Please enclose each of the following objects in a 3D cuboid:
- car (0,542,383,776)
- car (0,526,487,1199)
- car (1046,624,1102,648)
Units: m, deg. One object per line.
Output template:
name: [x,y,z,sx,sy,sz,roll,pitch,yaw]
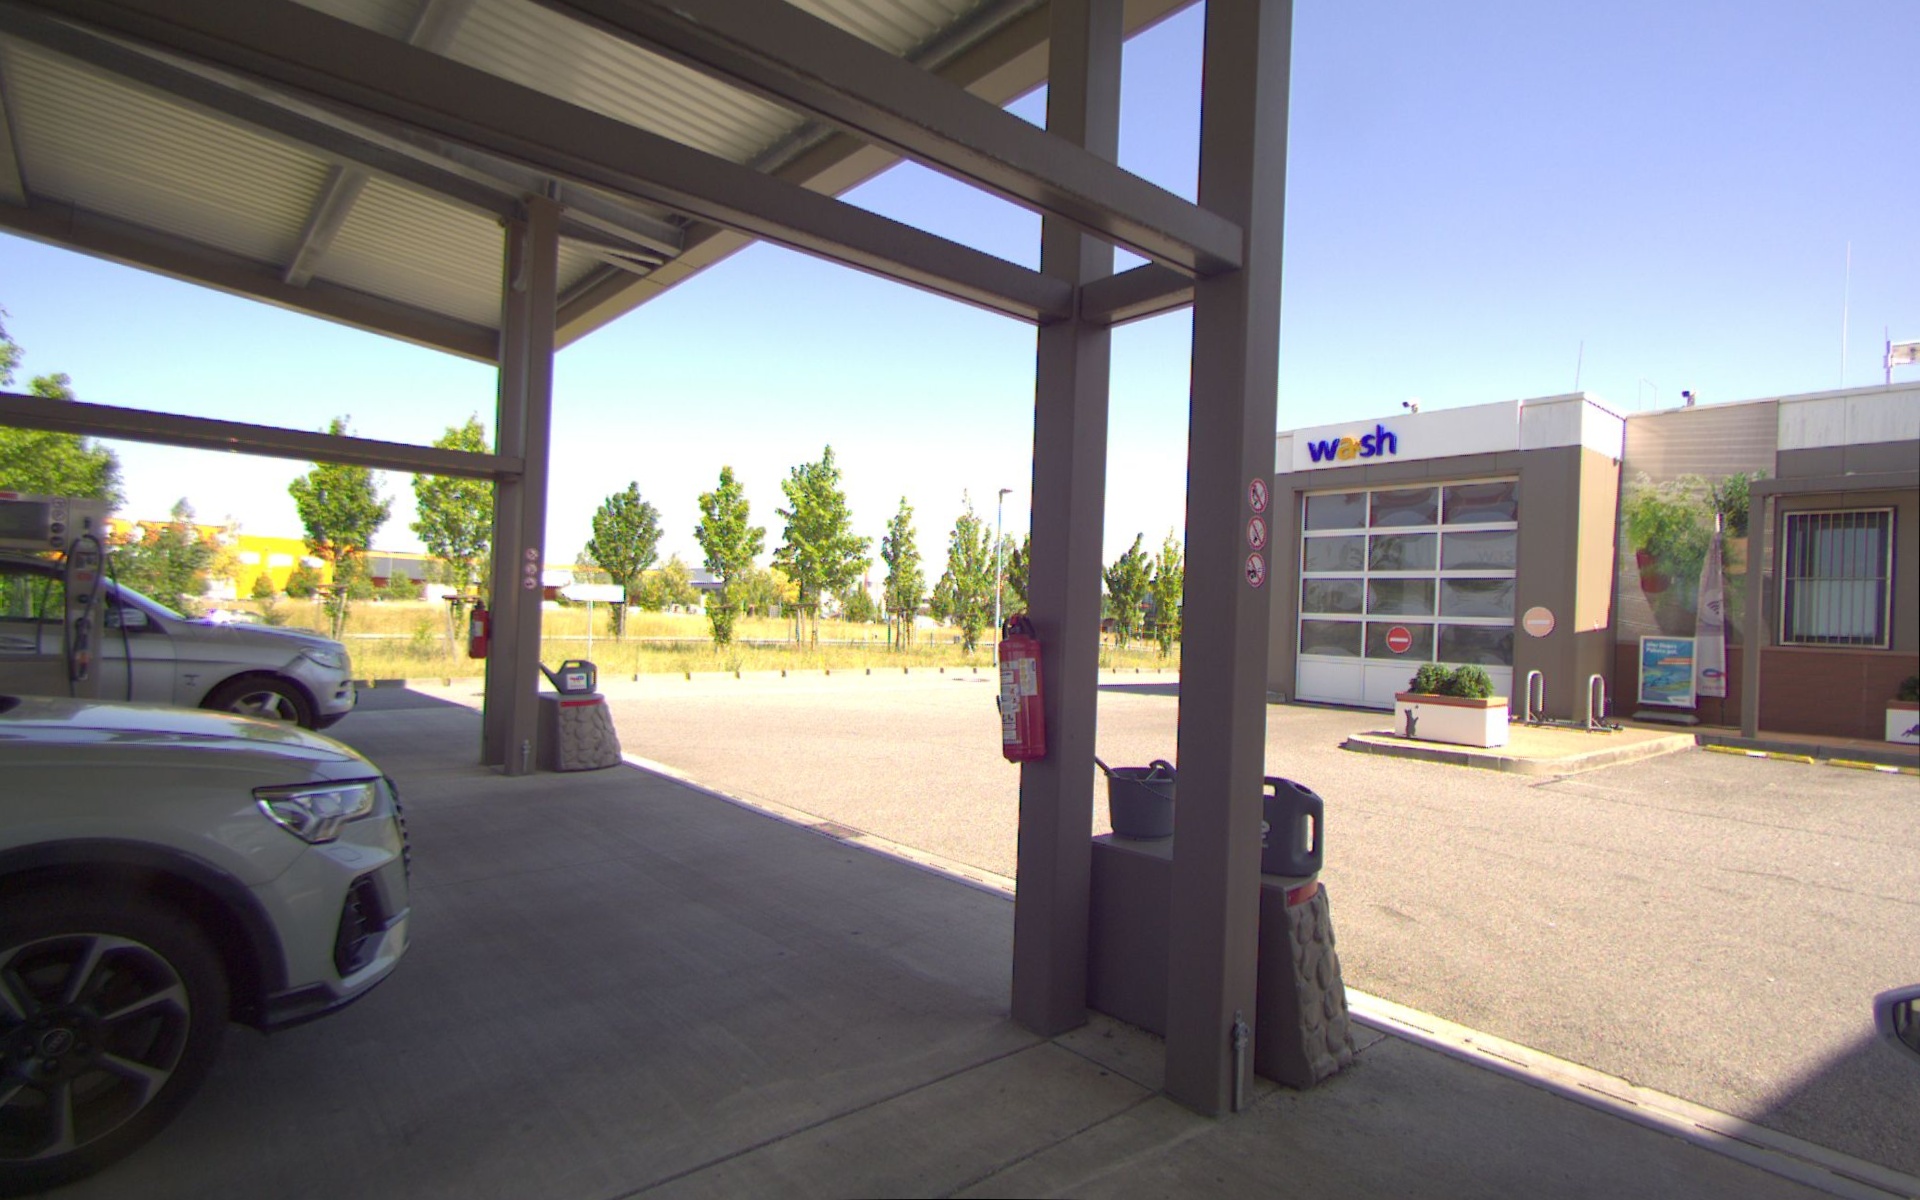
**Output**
car: [-7.481,0.428,8.179,4.506,1.710,1.841,2,-1,-45]
car: [-3.622,0.569,2.280,4.291,1.562,1.765,2,-1,-40]
car: [8.278,2.622,72.869,3.969,1.617,1.781,2,-1,-41]
